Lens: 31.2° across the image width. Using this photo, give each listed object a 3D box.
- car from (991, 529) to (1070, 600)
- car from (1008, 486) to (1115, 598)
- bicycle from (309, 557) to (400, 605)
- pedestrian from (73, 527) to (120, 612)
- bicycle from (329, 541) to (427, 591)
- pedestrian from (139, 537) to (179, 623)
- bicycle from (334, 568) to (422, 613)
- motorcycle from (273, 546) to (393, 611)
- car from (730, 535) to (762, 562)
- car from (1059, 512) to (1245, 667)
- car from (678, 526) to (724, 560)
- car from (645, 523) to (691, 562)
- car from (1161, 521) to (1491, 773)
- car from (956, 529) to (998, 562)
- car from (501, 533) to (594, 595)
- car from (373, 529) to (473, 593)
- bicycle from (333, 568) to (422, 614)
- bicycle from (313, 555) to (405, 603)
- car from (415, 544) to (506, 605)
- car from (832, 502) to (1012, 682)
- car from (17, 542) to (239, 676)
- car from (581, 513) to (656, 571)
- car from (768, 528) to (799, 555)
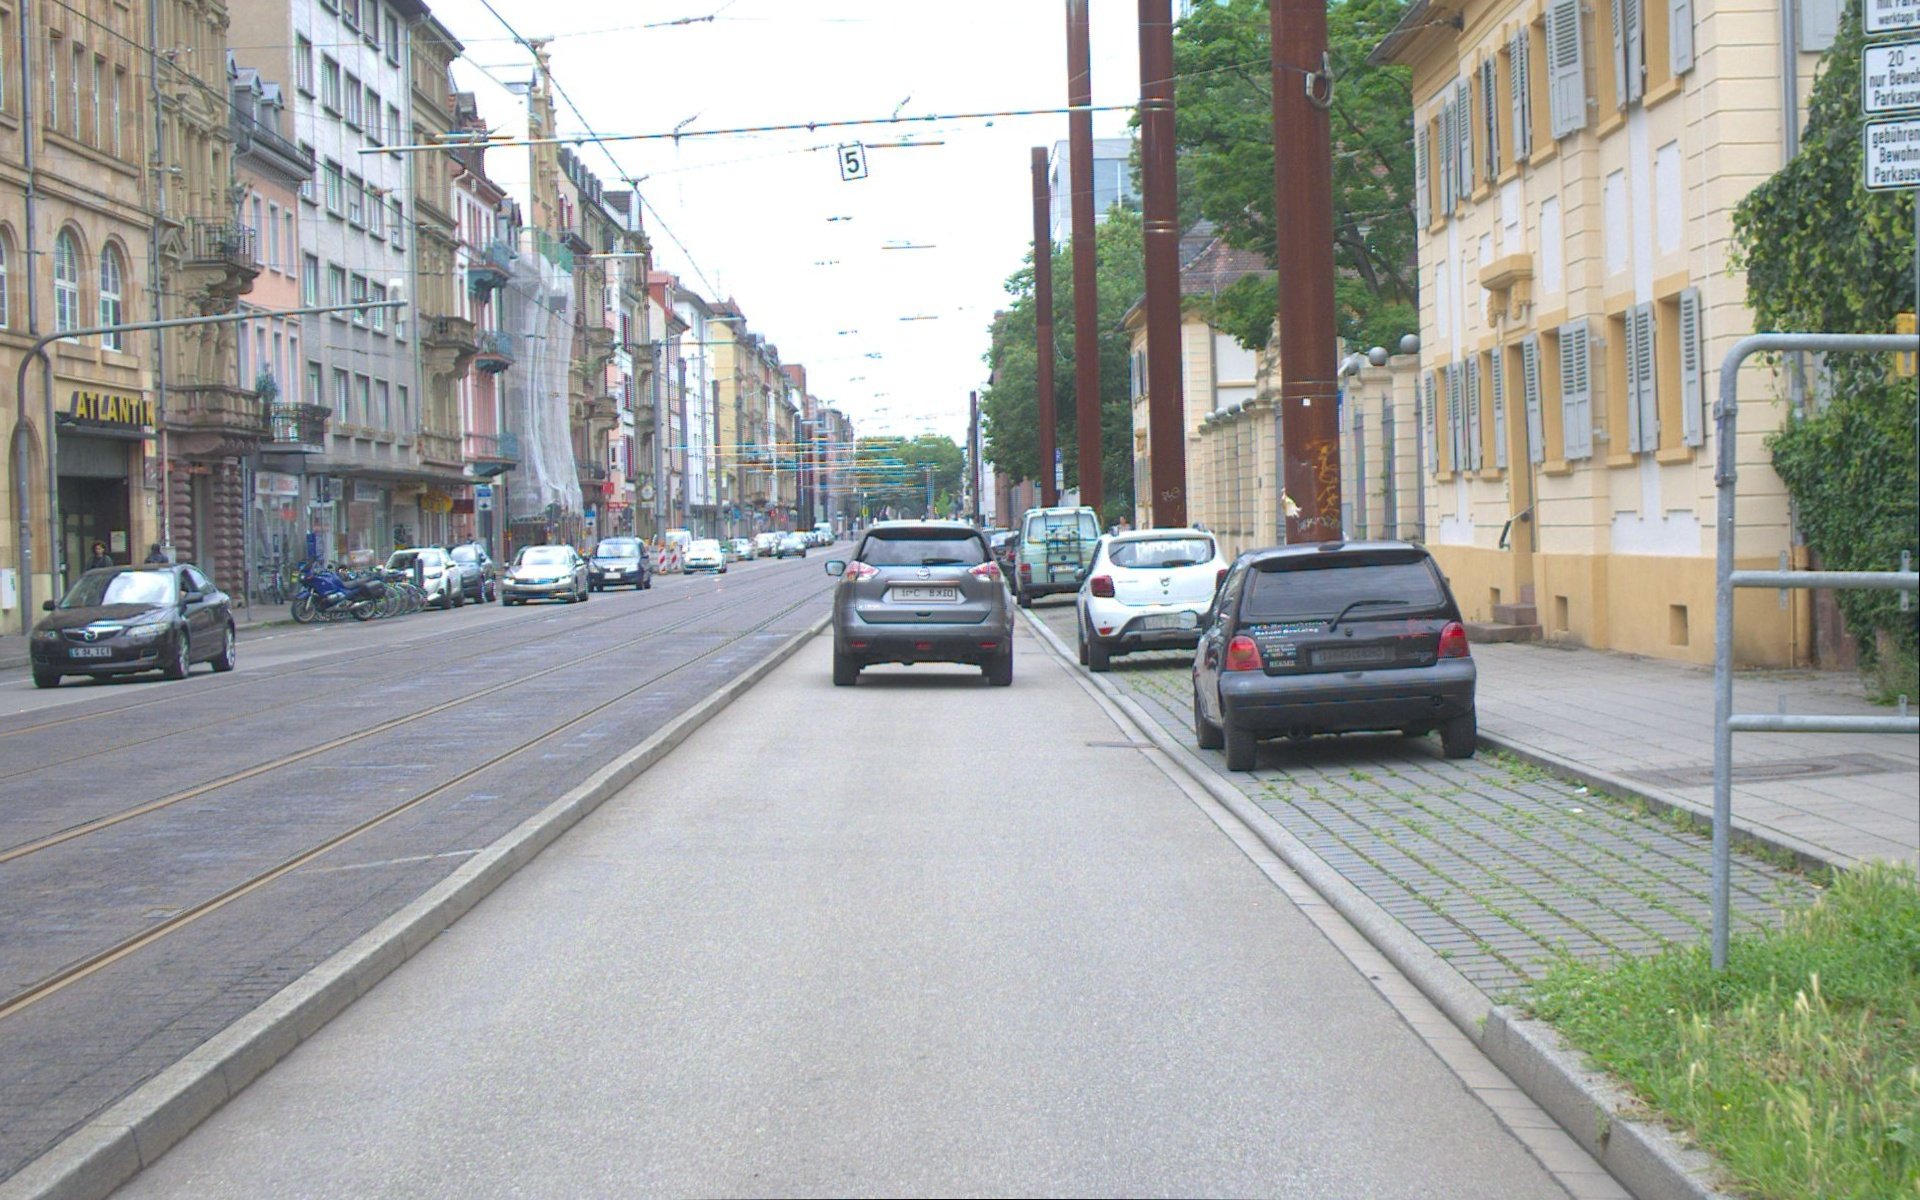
[{"bbox_3d":[1.730,-0.905,85.360,1.749,1.590,3.924,-4,1,-1],"label":"car"},{"bbox_3d":[2.059,-1.201,70.996,1.851,2.107,4.985,-4,1,-1],"label":"car"},{"bbox_3d":[-13.222,-0.416,75.121,1.921,0.998,0.463,-2,1,-8],"label":"bicycle"},{"bbox_3d":[-16.606,-0.596,66.137,0.685,1.608,0.742,-1,1,0],"label":"pedestrian"},{"bbox_3d":[-13.728,-0.811,81.135,2.230,1.122,0.504,-2,1,-8],"label":"bicycle"},{"bbox_3d":[-15.164,-0.385,65.096,0.568,1.592,0.718,-1,1,-1],"label":"pedestrian"},{"bbox_3d":[-13.494,-0.227,79.753,1.965,0.998,0.463,-2,1,-8],"label":"bicycle"},{"bbox_3d":[-13.311,-0.456,73.011,2.337,1.298,0.883,-2,1,-36],"label":"motorcycle"},{"bbox_3d":[-13.616,-3.245,218.510,1.993,1.629,4.000,-1,0,-3],"label":"car"},{"bbox_3d":[2.135,-0.160,39.248,1.755,1.569,3.931,-4,1,-1],"label":"car"},{"bbox_3d":[-11.028,-2.442,146.610,1.687,1.415,4.135,-1,1,-1],"label":"car"},{"bbox_3d":[-13.594,-2.672,160.304,1.993,1.700,4.000,-1,0,-3],"label":"car"},{"bbox_3d":[2.338,0.245,22.857,1.637,1.429,3.931,-4,1,-1],"label":"car"},{"bbox_3d":[0.749,-2.444,152.625,1.776,1.415,4.135,-1,1,-1],"label":"car"},{"bbox_3d":[-10.279,-0.921,85.987,1.759,1.444,4.614,-1,1,0],"label":"car"},{"bbox_3d":[-13.204,-0.986,84.778,1.776,1.499,4.402,-1,1,-1],"label":"car"},{"bbox_3d":[-13.413,-0.216,79.189,1.965,0.998,0.463,-2,1,-8],"label":"bicycle"},{"bbox_3d":[-13.251,-0.461,75.826,1.965,0.998,0.463,-2,1,-8],"label":"bicycle"},{"bbox_3d":[-13.206,-0.698,91.120,1.776,1.499,4.402,-1,1,-1],"label":"car"},{"bbox_3d":[-0.396,-0.121,35.837,1.749,1.750,3.924,1,1,0],"label":"car"},{"bbox_3d":[-10.100,0.064,42.066,1.827,1.428,4.668,-4,1,-4],"label":"car"},{"bbox_3d":[-10.330,-1.769,104.237,1.759,1.666,4.614,-1,1,0],"label":"car"},{"bbox_3d":[-11.529,-3.823,224.554,1.993,1.629,4.000,-1,0,-3],"label":"car"}]
